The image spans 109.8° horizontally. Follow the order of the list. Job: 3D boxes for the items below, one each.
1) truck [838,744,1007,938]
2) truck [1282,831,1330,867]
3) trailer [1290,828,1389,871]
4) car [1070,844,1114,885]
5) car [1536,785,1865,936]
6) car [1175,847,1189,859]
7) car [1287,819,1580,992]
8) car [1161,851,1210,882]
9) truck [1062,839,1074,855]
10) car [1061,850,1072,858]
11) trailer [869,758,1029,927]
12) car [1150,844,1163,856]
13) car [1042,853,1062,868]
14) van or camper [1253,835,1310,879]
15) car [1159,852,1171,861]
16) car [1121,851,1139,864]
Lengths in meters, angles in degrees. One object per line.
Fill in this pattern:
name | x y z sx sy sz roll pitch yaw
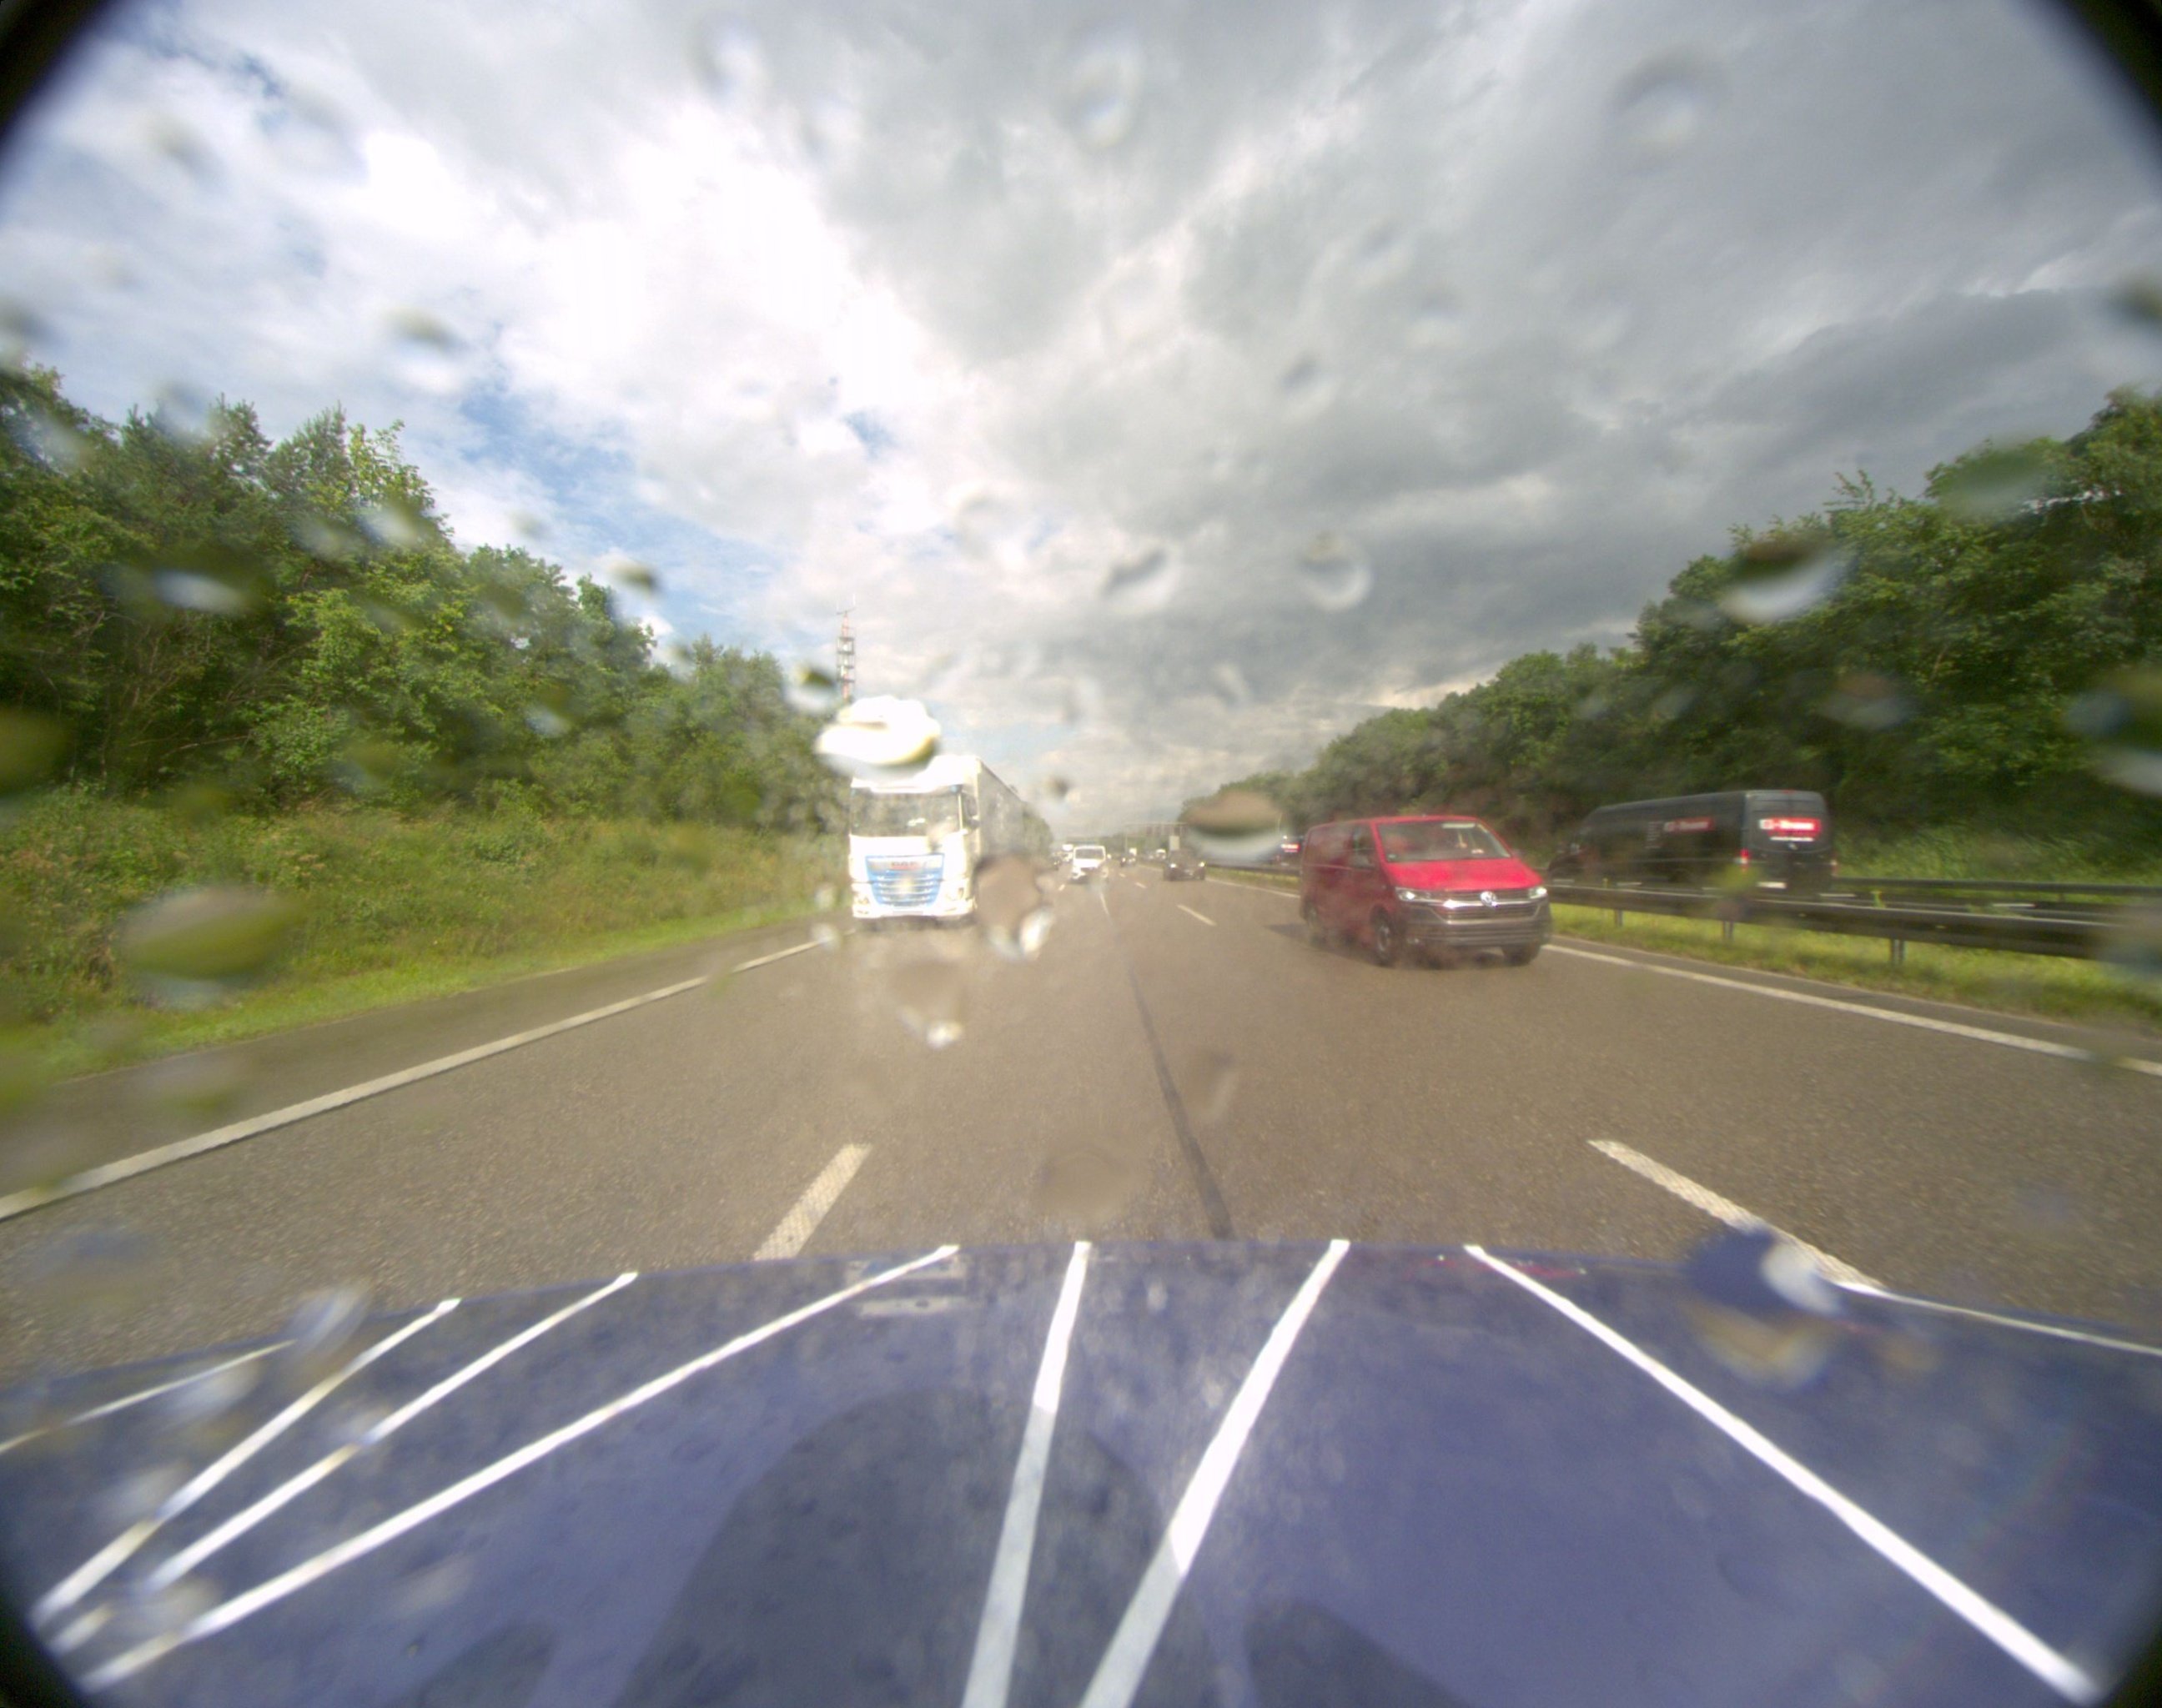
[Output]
truck | -3.673 -0.298 19.566 2.613 3.972 7.289 -2 1 0
truck | 25.688 -0.540 86.971 2.999 3.809 6.861 -3 1 -4
trailer | 26.210 -0.495 78.659 2.999 3.809 17.944 -3 0 -4
car | 0.575 0.492 40.584 2.124 1.988 5.982 -2 1 0
car | 14.126 0.102 18.234 2.268 2.853 6.889 -2 1 0
car | 18.574 -0.208 139.681 1.873 1.935 5.040 -2 1 -1
car | 4.588 0.552 10.881 1.927 1.855 4.838 -2 1 0
car | 5.598 0.635 41.233 2.009 1.488 4.838 -2 1 0
truck | -3.177 -1.689 187.700 3.064 3.827 8.799 -1 0 -1
car | -2.715 -0.024 143.478 1.799 1.410 4.838 -2 1 0
trailer | -3.661 -0.325 25.318 2.641 3.972 14.063 -2 1 0
car | 17.977 -0.925 181.206 2.268 2.853 6.930 -2 1 -1
car | -3.021 0.694 80.003 1.799 1.410 4.838 -2 1 0
van or camper | 14.438 0.177 55.244 2.268 2.853 6.839 -2 1 0
car | 14.887 0.454 134.710 1.607 1.455 3.651 -2 1 -1
car | 5.639 0.391 88.009 1.799 1.410 4.838 -2 1 0
